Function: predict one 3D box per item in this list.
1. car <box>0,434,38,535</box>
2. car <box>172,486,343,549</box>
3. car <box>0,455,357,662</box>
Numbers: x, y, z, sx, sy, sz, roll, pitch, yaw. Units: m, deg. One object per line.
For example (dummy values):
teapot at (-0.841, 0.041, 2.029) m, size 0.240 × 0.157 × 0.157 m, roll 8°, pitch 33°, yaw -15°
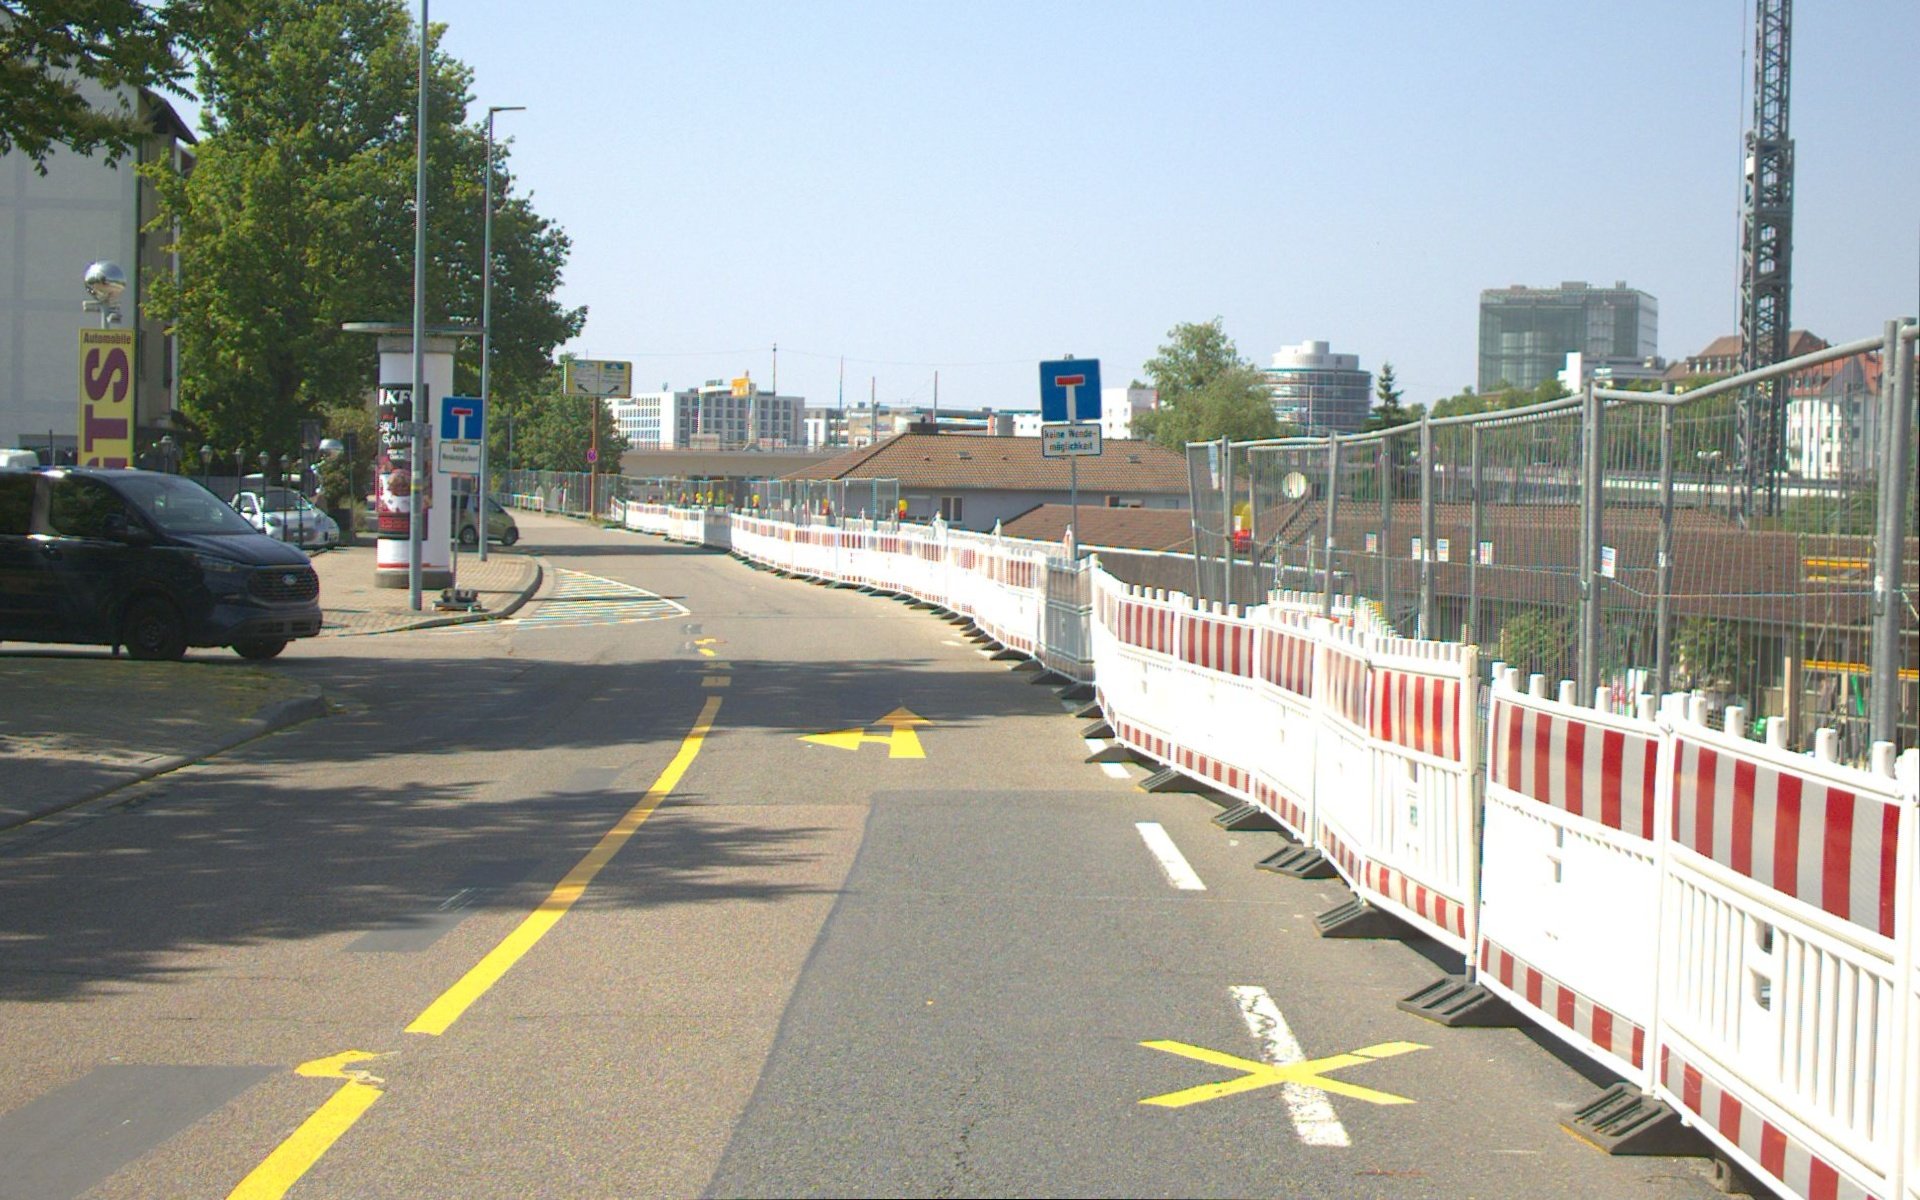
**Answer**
car at (-19.778, -2.300, 67.445) m, size 1.823 × 1.923 × 3.999 m, roll 0°, pitch 2°, yaw -38°
car at (-16.830, -1.977, 82.371) m, size 3.678 × 1.416 × 1.571 m, roll 2°, pitch 1°, yaw 14°
car at (-8.933, -0.476, 34.589) m, size 5.370 × 1.928 × 1.998 m, roll 2°, pitch 2°, yaw 21°
